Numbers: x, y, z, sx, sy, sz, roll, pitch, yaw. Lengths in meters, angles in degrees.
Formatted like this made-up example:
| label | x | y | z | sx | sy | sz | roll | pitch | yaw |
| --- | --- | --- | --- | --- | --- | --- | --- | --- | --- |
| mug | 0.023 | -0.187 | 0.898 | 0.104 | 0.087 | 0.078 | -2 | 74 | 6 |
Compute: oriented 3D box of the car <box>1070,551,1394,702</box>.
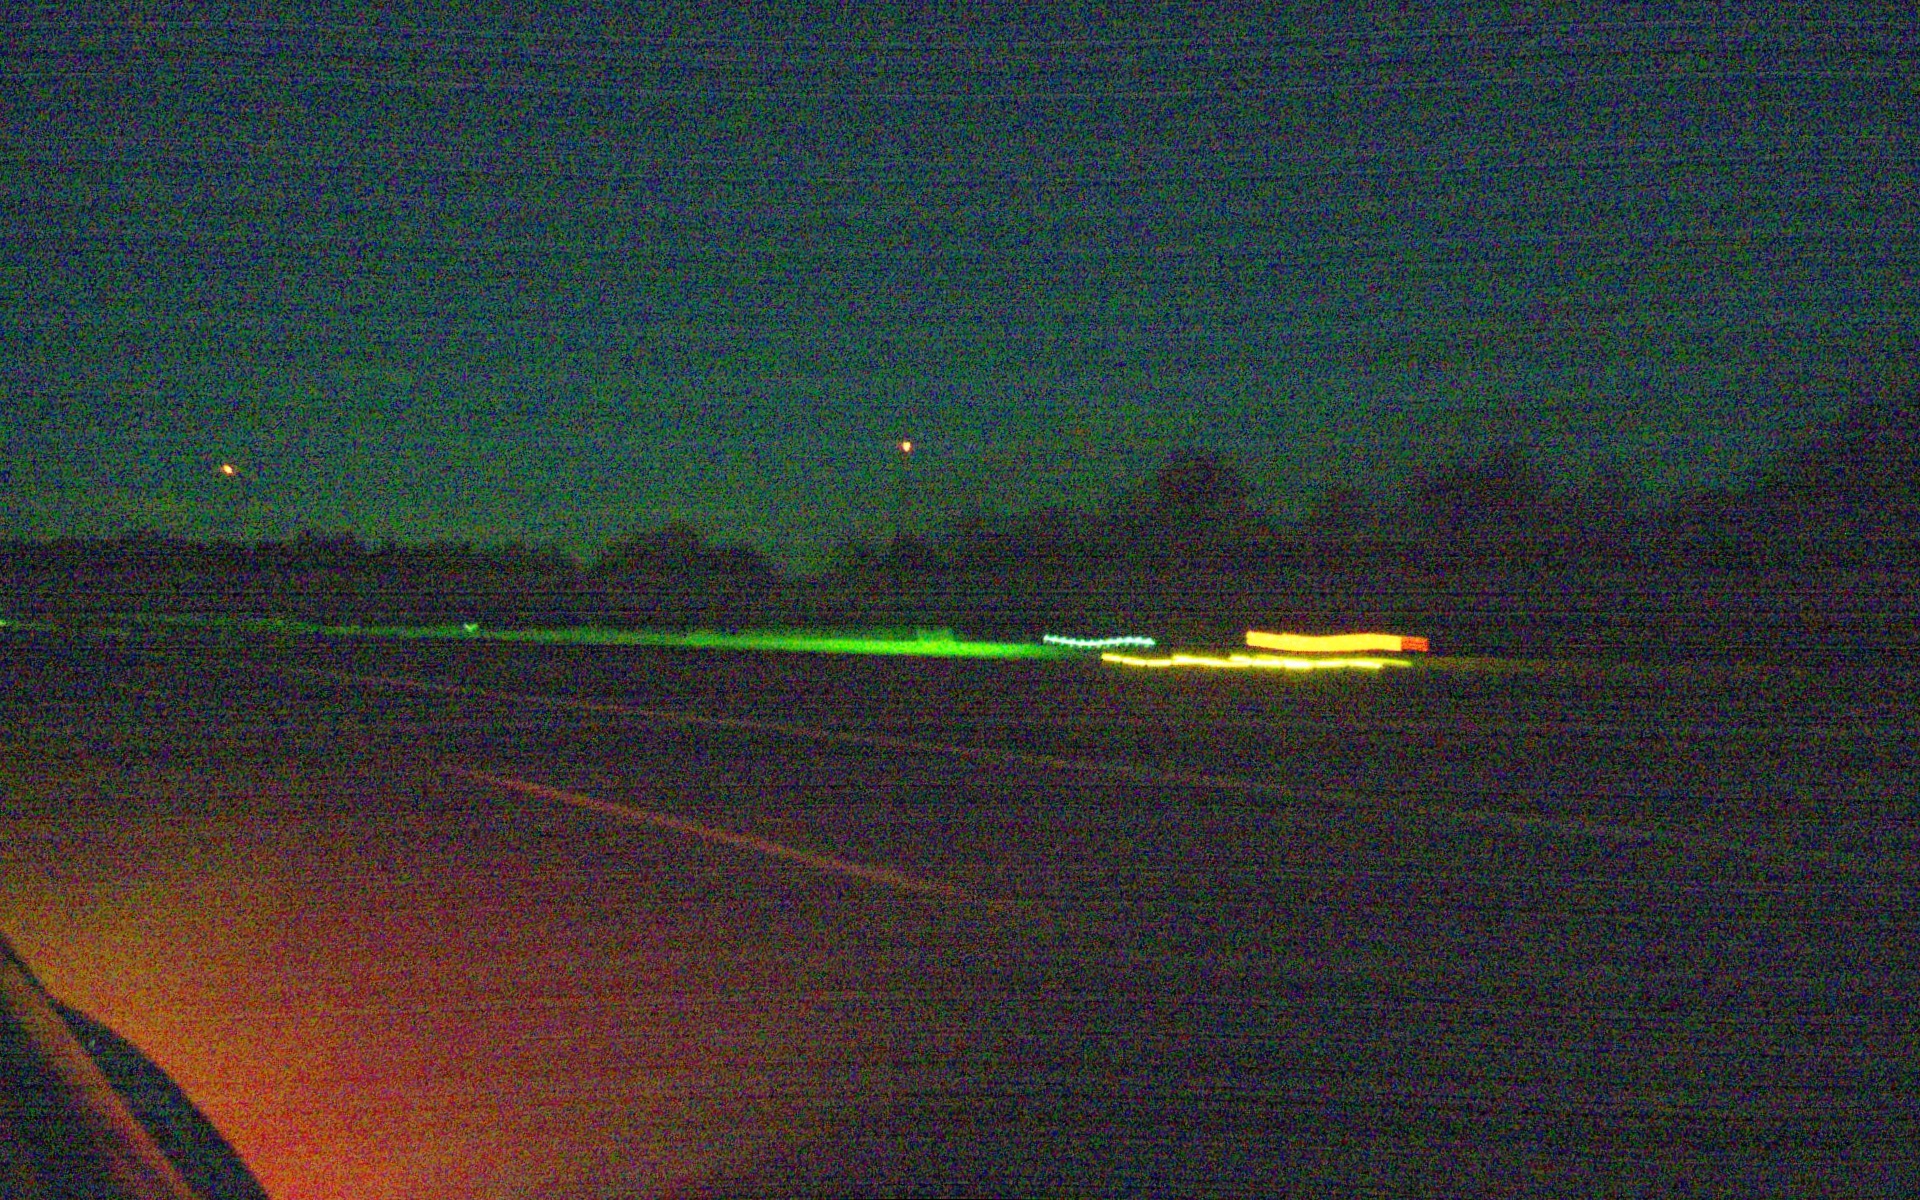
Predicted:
| label | x | y | z | sx | sy | sz | roll | pitch | yaw |
| --- | --- | --- | --- | --- | --- | --- | --- | --- | --- |
| car | 6.041 | 0.511 | 23.128 | 6.599 | 2.959 | 2.817 | 0 | 0 | 41 |
